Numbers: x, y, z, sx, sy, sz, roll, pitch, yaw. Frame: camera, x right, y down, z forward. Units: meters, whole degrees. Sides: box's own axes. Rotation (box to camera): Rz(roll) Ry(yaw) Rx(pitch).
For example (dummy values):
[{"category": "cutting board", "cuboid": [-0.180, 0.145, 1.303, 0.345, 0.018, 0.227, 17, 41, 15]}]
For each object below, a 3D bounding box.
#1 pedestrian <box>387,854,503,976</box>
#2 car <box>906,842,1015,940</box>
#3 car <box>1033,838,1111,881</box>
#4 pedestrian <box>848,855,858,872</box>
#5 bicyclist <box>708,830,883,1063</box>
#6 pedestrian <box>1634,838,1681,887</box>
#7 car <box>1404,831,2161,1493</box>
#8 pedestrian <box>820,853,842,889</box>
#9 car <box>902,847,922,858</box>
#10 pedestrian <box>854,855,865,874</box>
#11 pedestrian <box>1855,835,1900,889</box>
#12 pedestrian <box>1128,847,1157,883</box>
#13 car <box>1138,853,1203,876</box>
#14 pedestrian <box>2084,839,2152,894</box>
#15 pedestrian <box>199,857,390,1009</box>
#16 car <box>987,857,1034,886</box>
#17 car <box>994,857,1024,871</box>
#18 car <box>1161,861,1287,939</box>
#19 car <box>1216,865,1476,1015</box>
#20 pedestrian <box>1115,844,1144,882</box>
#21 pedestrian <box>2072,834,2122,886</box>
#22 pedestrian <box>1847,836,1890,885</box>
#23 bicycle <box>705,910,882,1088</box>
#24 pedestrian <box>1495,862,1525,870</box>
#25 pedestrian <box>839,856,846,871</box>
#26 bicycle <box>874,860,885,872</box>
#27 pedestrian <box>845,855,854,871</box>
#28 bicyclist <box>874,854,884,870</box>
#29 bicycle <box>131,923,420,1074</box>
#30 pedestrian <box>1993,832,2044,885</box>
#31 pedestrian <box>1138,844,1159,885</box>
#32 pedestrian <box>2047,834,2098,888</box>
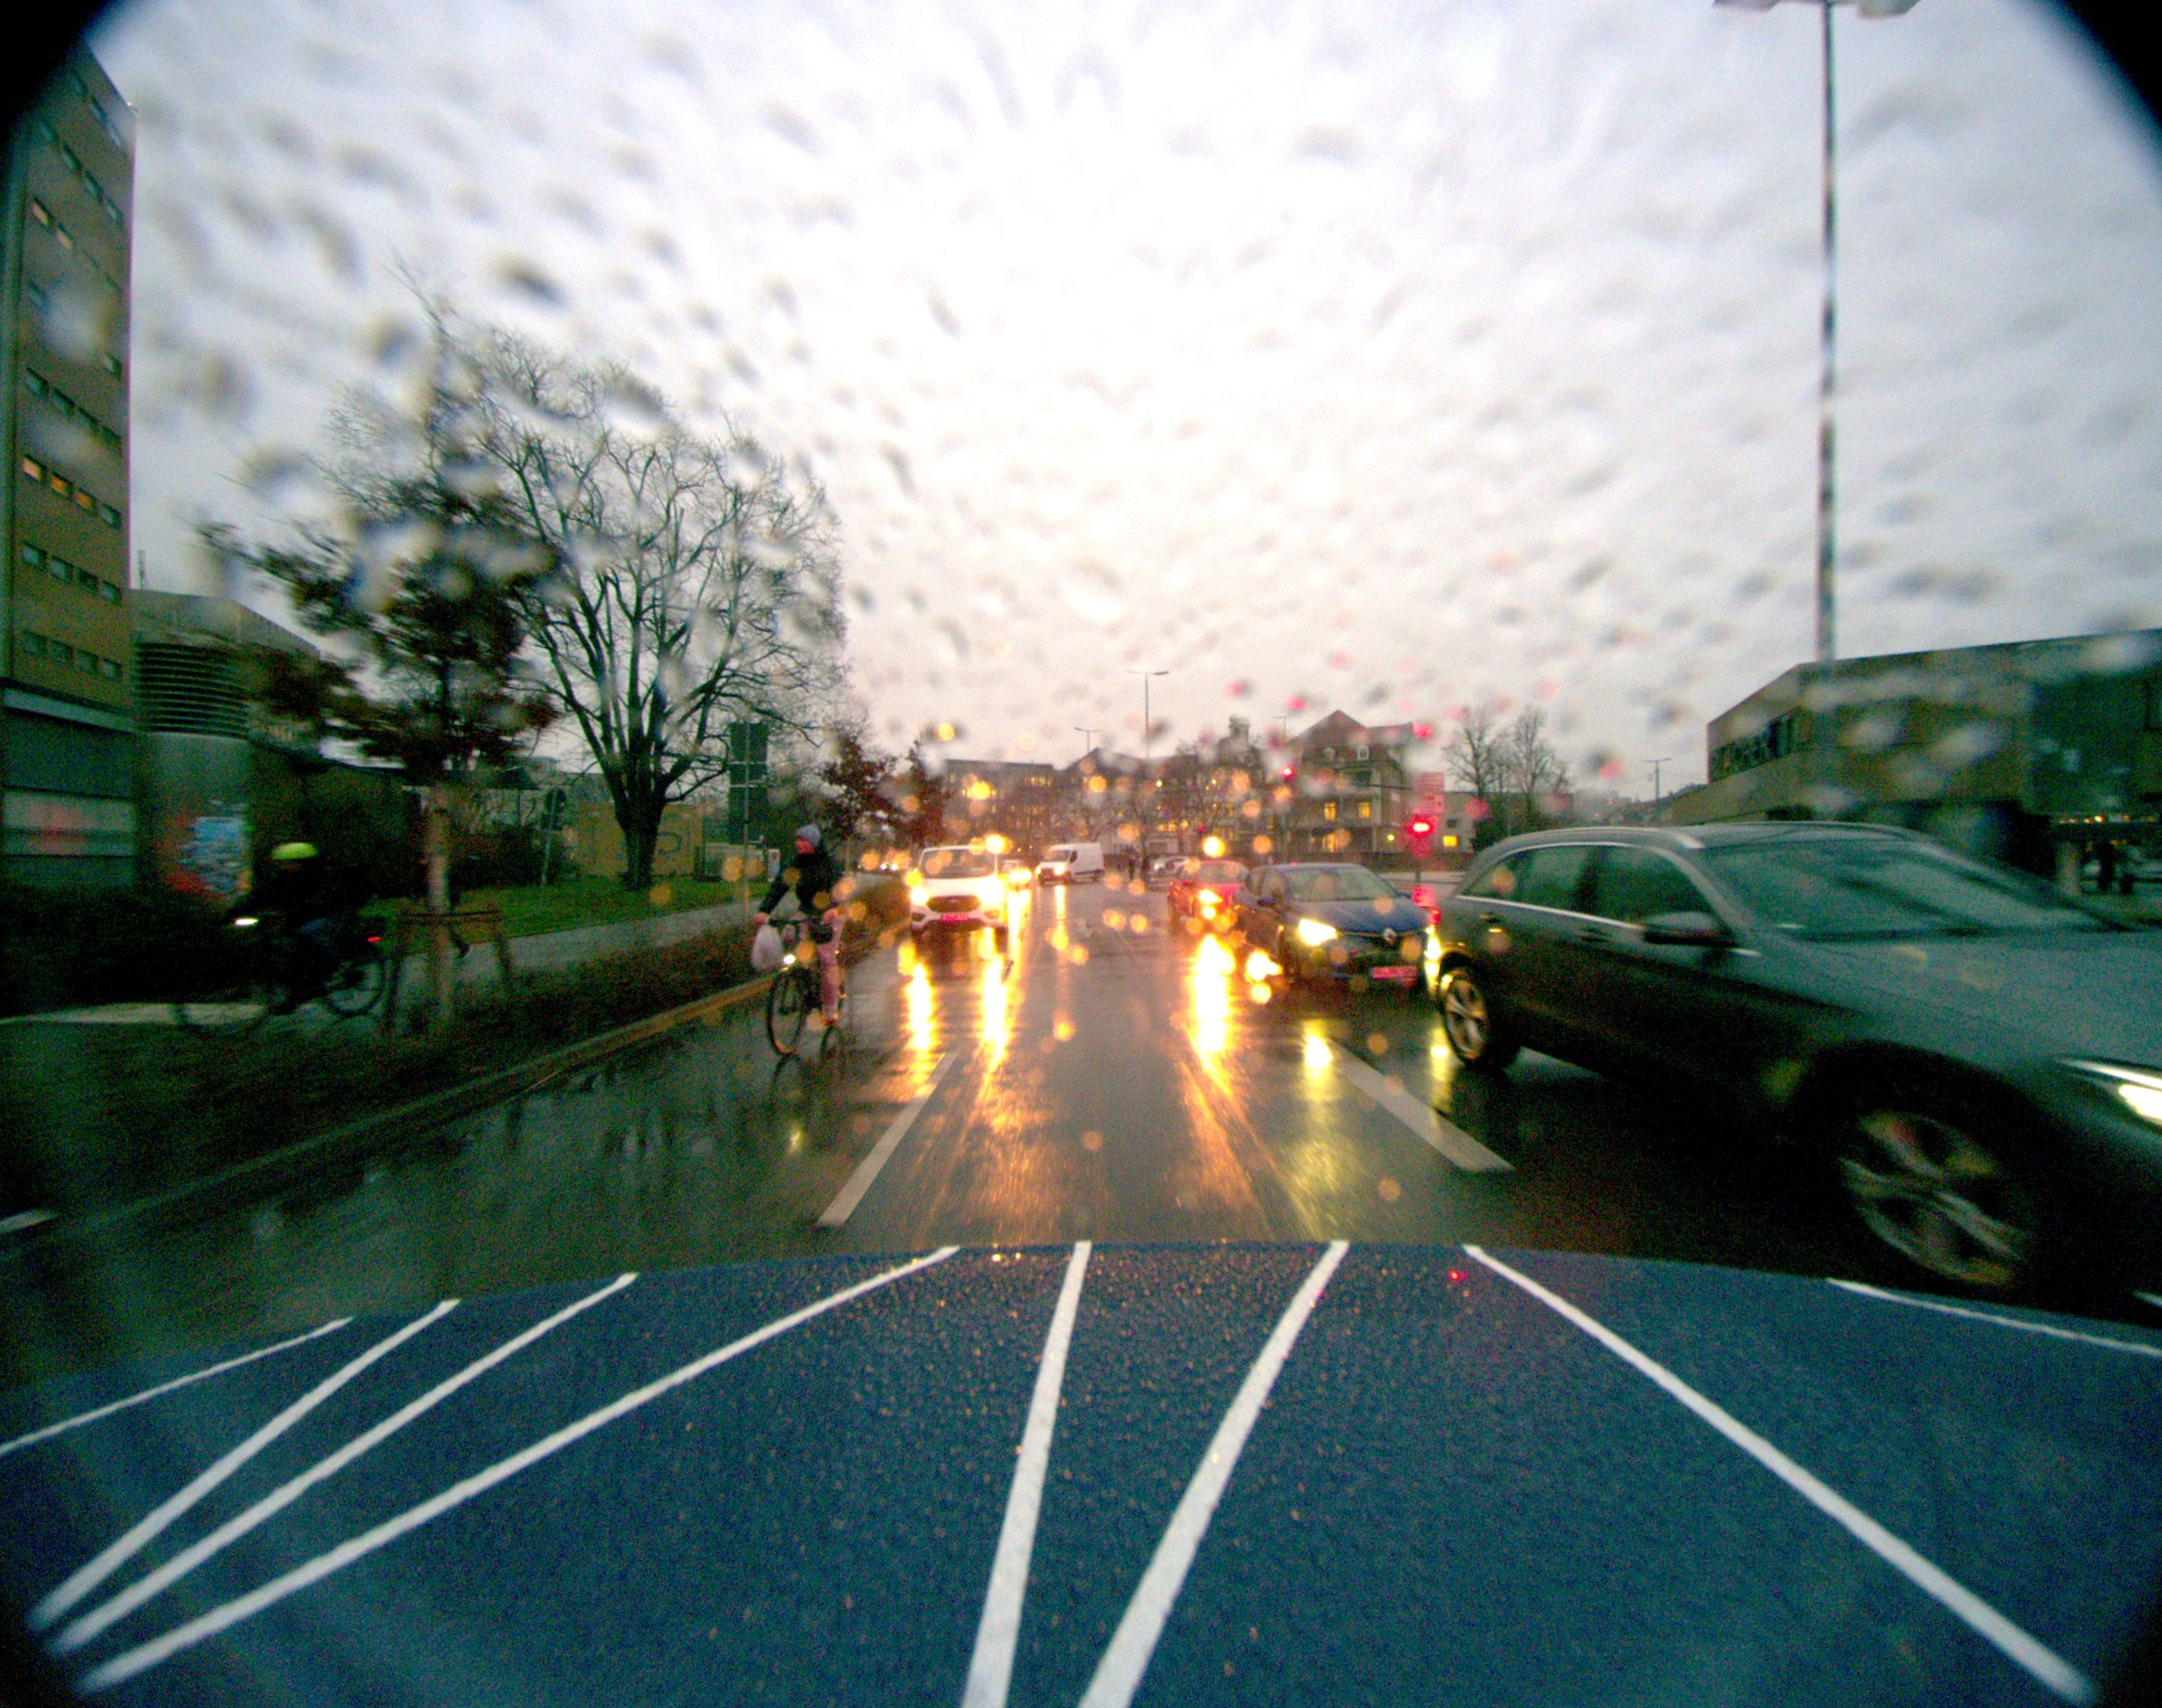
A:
[{"category": "pedestrian", "cuboid": [-9.249, 0.856, 11.097, 0.810, 1.678, 1.070, 1, 1, -5]}, {"category": "car", "cuboid": [-2.752, 0.826, 17.580, 2.138, 1.909, 5.015, 0, -2, -9]}, {"category": "car", "cuboid": [-0.497, 0.415, 48.327, 2.342, 2.502, 5.880, -2, -2, 28]}, {"category": "pedestrian", "cuboid": [-25.606, 1.061, 85.359, 0.934, 1.815, 0.832, 0, 1, -22]}, {"category": "bicyclist", "cuboid": [-2.483, 0.754, 6.808, 1.026, 1.872, 1.236, -2, 0, 1]}, {"category": "pedestrian", "cuboid": [22.667, 0.350, 29.881, 1.037, 1.846, 1.231, 1, -3, -41]}, {"category": "car", "cuboid": [3.519, 0.747, 3.766, 1.790, 1.591, 4.540, -3, 0, -1]}, {"category": "pedestrian", "cuboid": [-11.878, 0.829, 36.150, 0.913, 1.677, 0.926, 1, -2, -17]}, {"category": "car", "cuboid": [-24.463, -0.197, 109.714, 2.002, 1.558, 4.752, 1, 0, -22]}, {"category": "pedestrian", "cuboid": [-20.652, 0.984, 70.797, 0.934, 1.815, 0.832, 0, 1, -22]}, {"category": "pedestrian", "cuboid": [26.682, 0.263, 25.463, 0.662, 1.757, 0.832, 0, 0, -17]}, {"category": "pedestrian", "cuboid": [3.250, 0.614, 40.078, 1.037, 1.846, 1.068, 0, -2, -38]}, {"category": "car", "cuboid": [6.800, 0.745, 57.466, 4.825, 1.634, 1.834, 0, 0, -34]}, {"category": "pedestrian", "cuboid": [30.785, 0.359, 22.578, 0.854, 1.593, 0.967, 0, 0, 29]}, {"category": "pedestrian", "cuboid": [-7.243, 0.691, 7.055, 0.877, 1.309, 0.848, 0, 1, -6]}, {"category": "car", "cuboid": [-3.749, 0.984, 41.234, 1.753, 1.494, 4.321, -1, -2, 5]}, {"category": "car", "cuboid": [-7.729, 1.031, 80.838, 1.934, 1.368, 4.490, 0, 0, -22]}, {"category": "car", "cuboid": [3.111, 0.942, 17.349, 1.706, 1.473, 3.870, -3, 0, -6]}, {"category": "car", "cuboid": [3.093, 0.909, 9.852, 1.664, 1.396, 4.118, -3, 0, -4]}, {"category": "pedestrian", "cuboid": [2.693, 0.490, 41.892, 1.032, 2.037, 1.218, -3, -3, 43]}, {"category": "pedestrian", "cuboid": [34.151, 0.210, 25.540, 0.743, 1.716, 0.743, 0, 0, -9]}, {"category": "pedestrian", "cuboid": [27.579, 0.224, 26.613, 0.741, 1.716, 0.744, 0, 0, 7]}, {"category": "bicycle", "cuboid": [-2.467, 1.192, 6.822, 0.794, 1.215, 1.904, -2, 0, 1]}, {"category": "pedestrian", "cuboid": [51.725, 1.474, 91.642, 3.091, 0.924, 0.951, -3, -3, 34]}, {"category": "pedestrian", "cuboid": [-30.813, 1.217, 98.234, 0.767, 2.002, 0.908, 0, 1, -23]}, {"category": "bicycle", "cuboid": [-21.102, 1.250, 79.492, 0.807, 1.134, 2.209, 3, -1, -23]}, {"category": "pedestrian", "cuboid": [-27.355, 1.055, 89.838, 0.934, 1.815, 0.832, 0, 1, -22]}, {"category": "bicyclist", "cuboid": [-21.169, 0.875, 79.665, 0.807, 1.608, 1.083, 3, 0, -23]}, {"category": "bicycle", "cuboid": [-7.102, 1.207, 6.895, 0.563, 0.941, 2.093, 0, 1, -6]}, {"category": "pedestrian", "cuboid": [30.511, 0.145, 24.734, 0.741, 1.716, 0.744, 0, 0, 7]}, {"category": "pedestrian", "cuboid": [3.364, 0.522, 37.971, 0.848, 1.993, 1.109, -1, -2, -6]}, {"category": "pedestrian", "cuboid": [31.898, 0.220, 24.447, 0.743, 1.716, 0.743, 0, 0, -11]}]
